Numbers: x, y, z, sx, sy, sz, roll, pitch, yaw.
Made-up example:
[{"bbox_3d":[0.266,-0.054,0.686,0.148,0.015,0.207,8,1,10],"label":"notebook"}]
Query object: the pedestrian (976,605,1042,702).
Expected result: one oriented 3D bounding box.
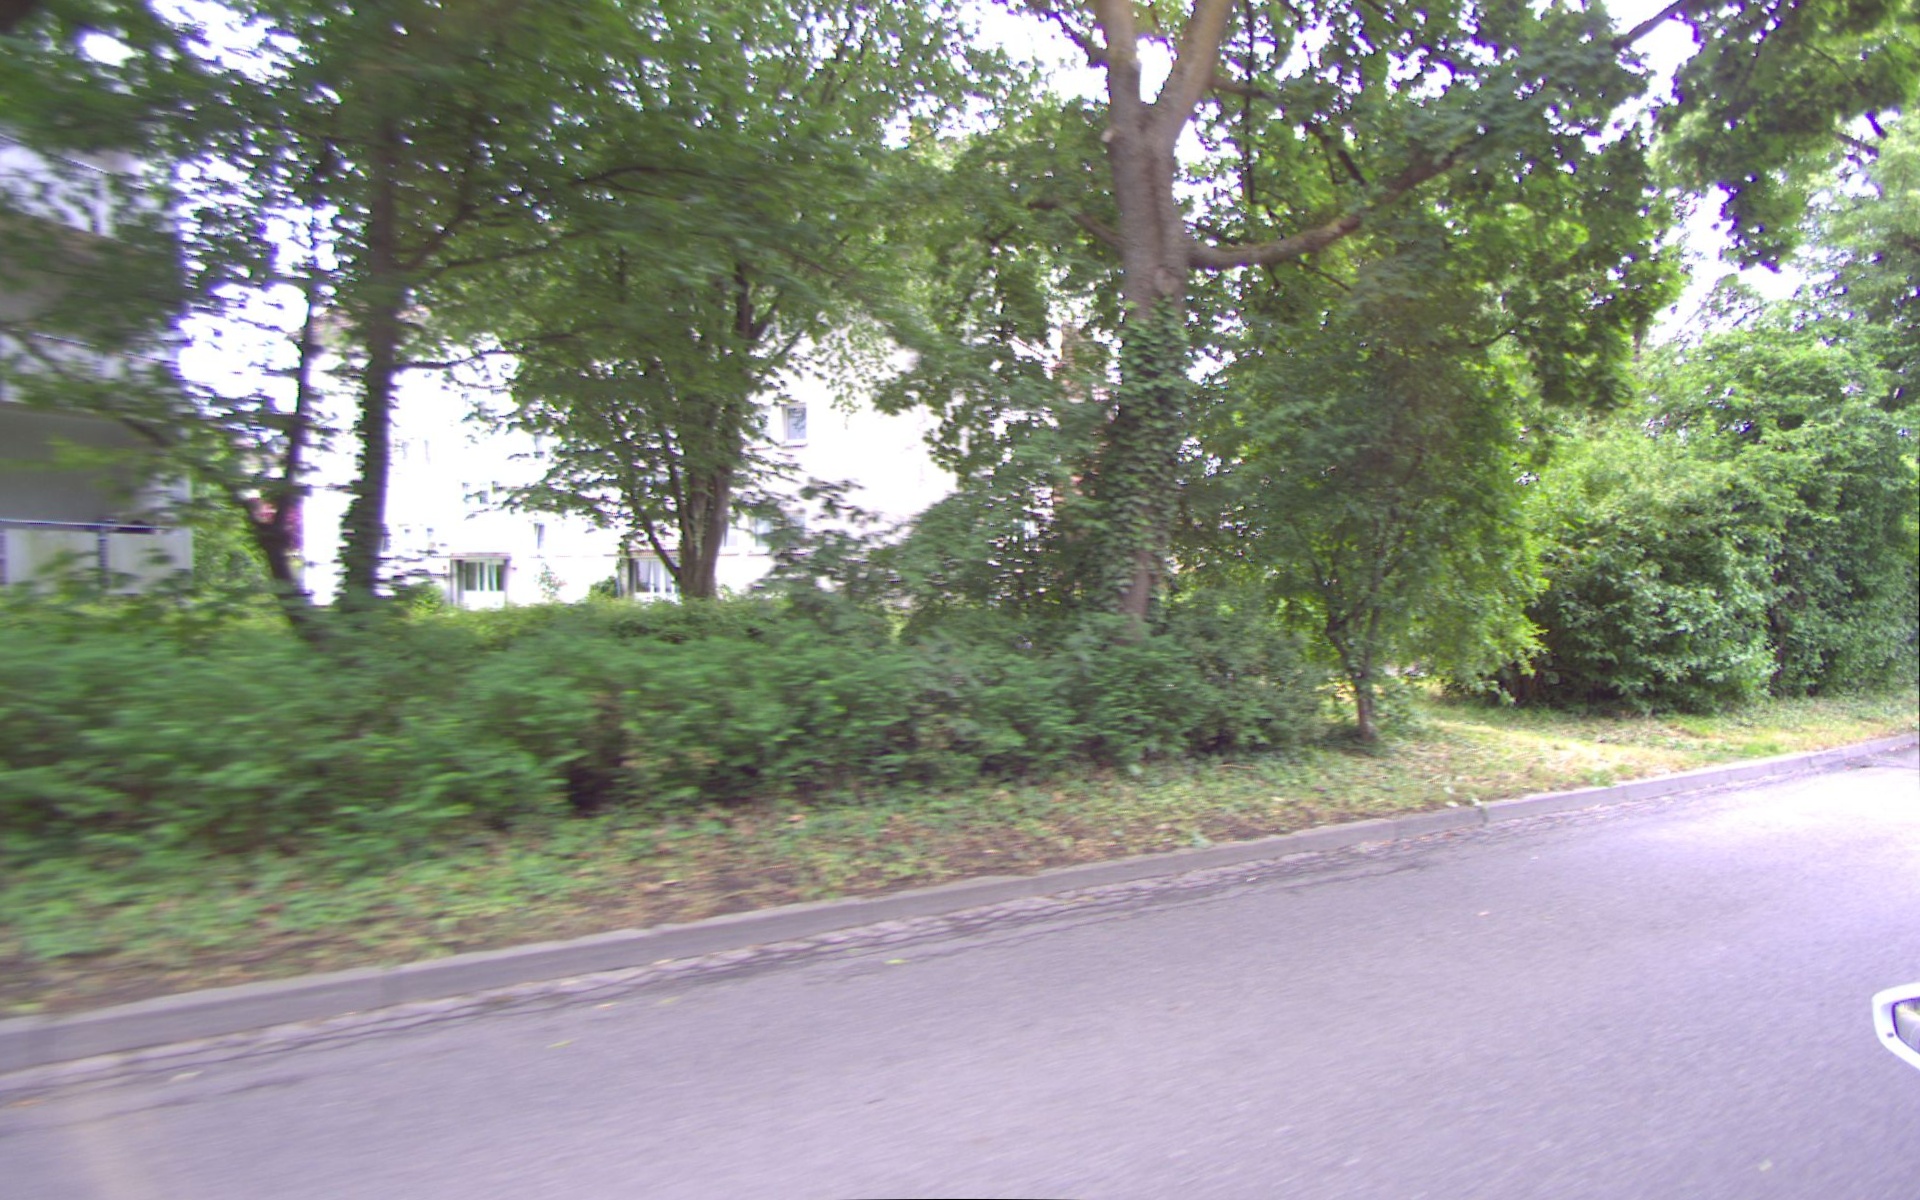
[{"bbox_3d":[0.802,0.862,16.583,0.862,1.521,0.605,0,4,-30],"label":"pedestrian"}]
